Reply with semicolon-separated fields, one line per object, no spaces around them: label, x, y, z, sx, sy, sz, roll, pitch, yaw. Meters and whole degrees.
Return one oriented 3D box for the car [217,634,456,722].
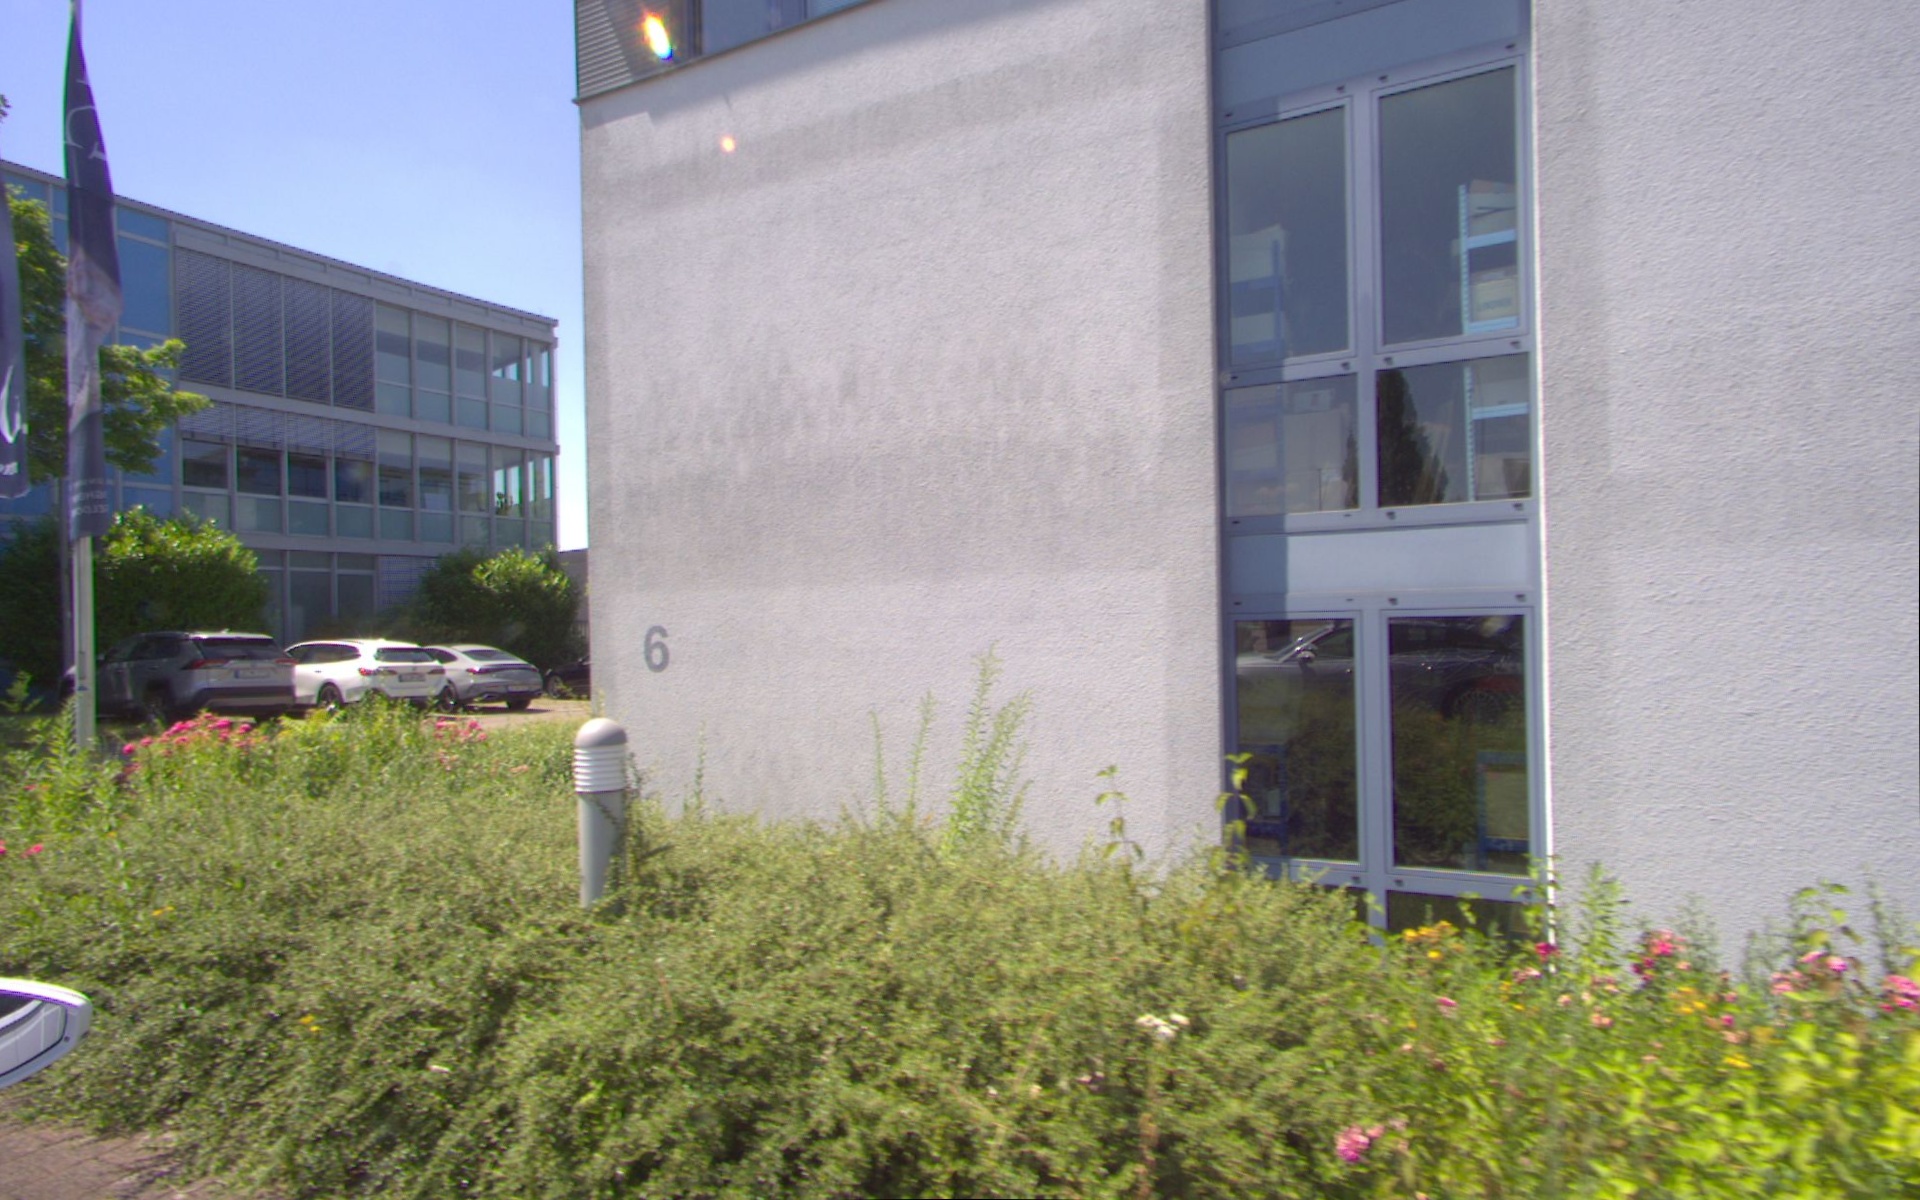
car;-12.170;1.468;19.547;4.265;1.510;1.738;0;-2;22

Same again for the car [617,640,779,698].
car;-7.327;1.880;27.906;4.482;1.465;1.734;-1;-3;31

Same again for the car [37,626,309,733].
car;-13.637;1.297;17.363;4.265;1.640;1.821;0;-1;22

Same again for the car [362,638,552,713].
car;-11.091;1.606;22.013;4.276;1.447;1.734;-1;-3;31

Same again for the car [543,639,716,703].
car;-8.539;1.782;25.781;4.482;1.465;1.734;-1;-3;31
